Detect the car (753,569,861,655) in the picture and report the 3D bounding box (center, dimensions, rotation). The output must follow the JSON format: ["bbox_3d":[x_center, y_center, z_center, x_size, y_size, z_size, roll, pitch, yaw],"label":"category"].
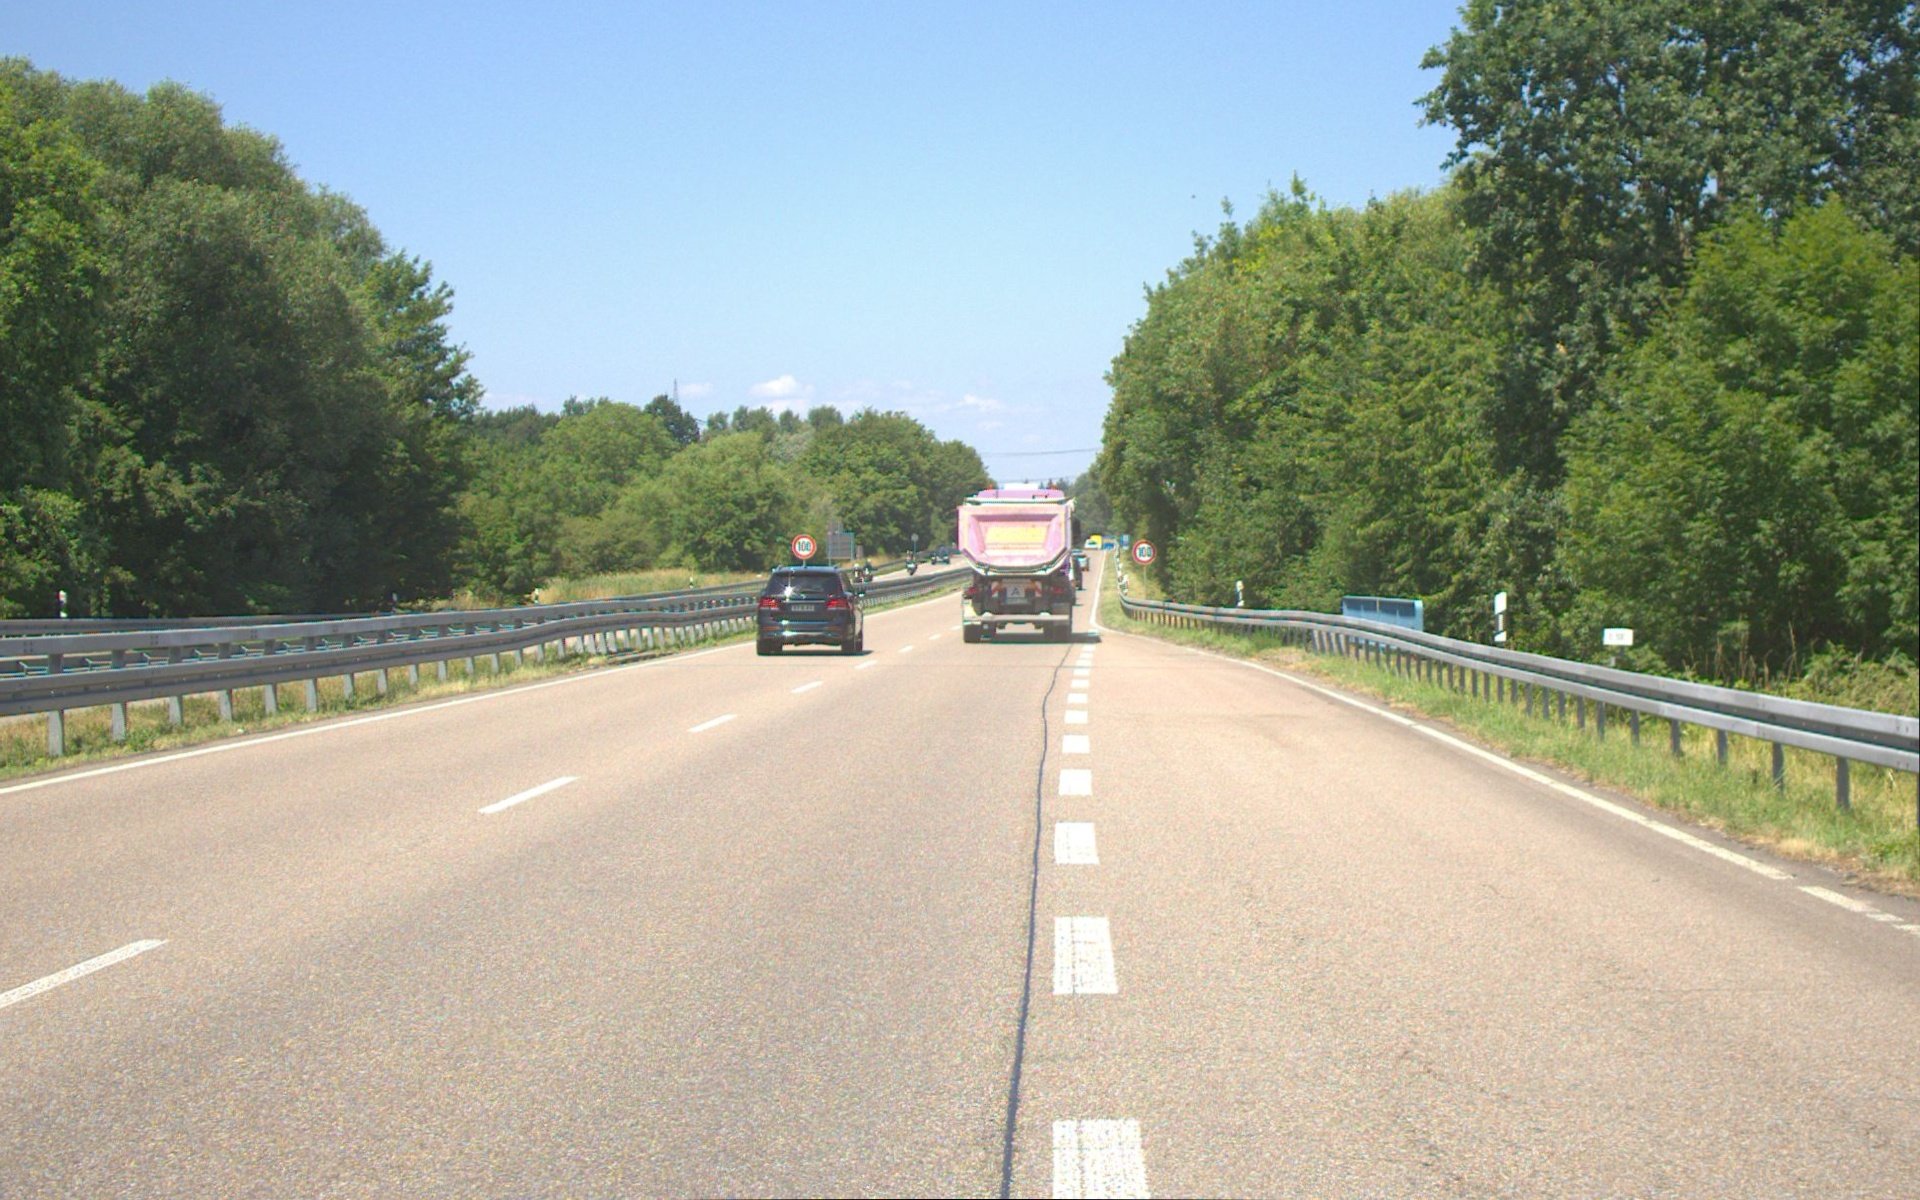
[{"bbox_3d":[-3.004,0.250,68.266,1.857,1.666,4.000,0,-1,2],"label":"car"}]

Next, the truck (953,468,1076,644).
[{"bbox_3d":[1.400,-1.088,82.701,2.720,3.916,12.370,0,1,2],"label":"truck"}]

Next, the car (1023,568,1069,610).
[{"bbox_3d":[3.530,-0.445,141.024,1.857,1.666,4.000,0,-1,2],"label":"car"}]
